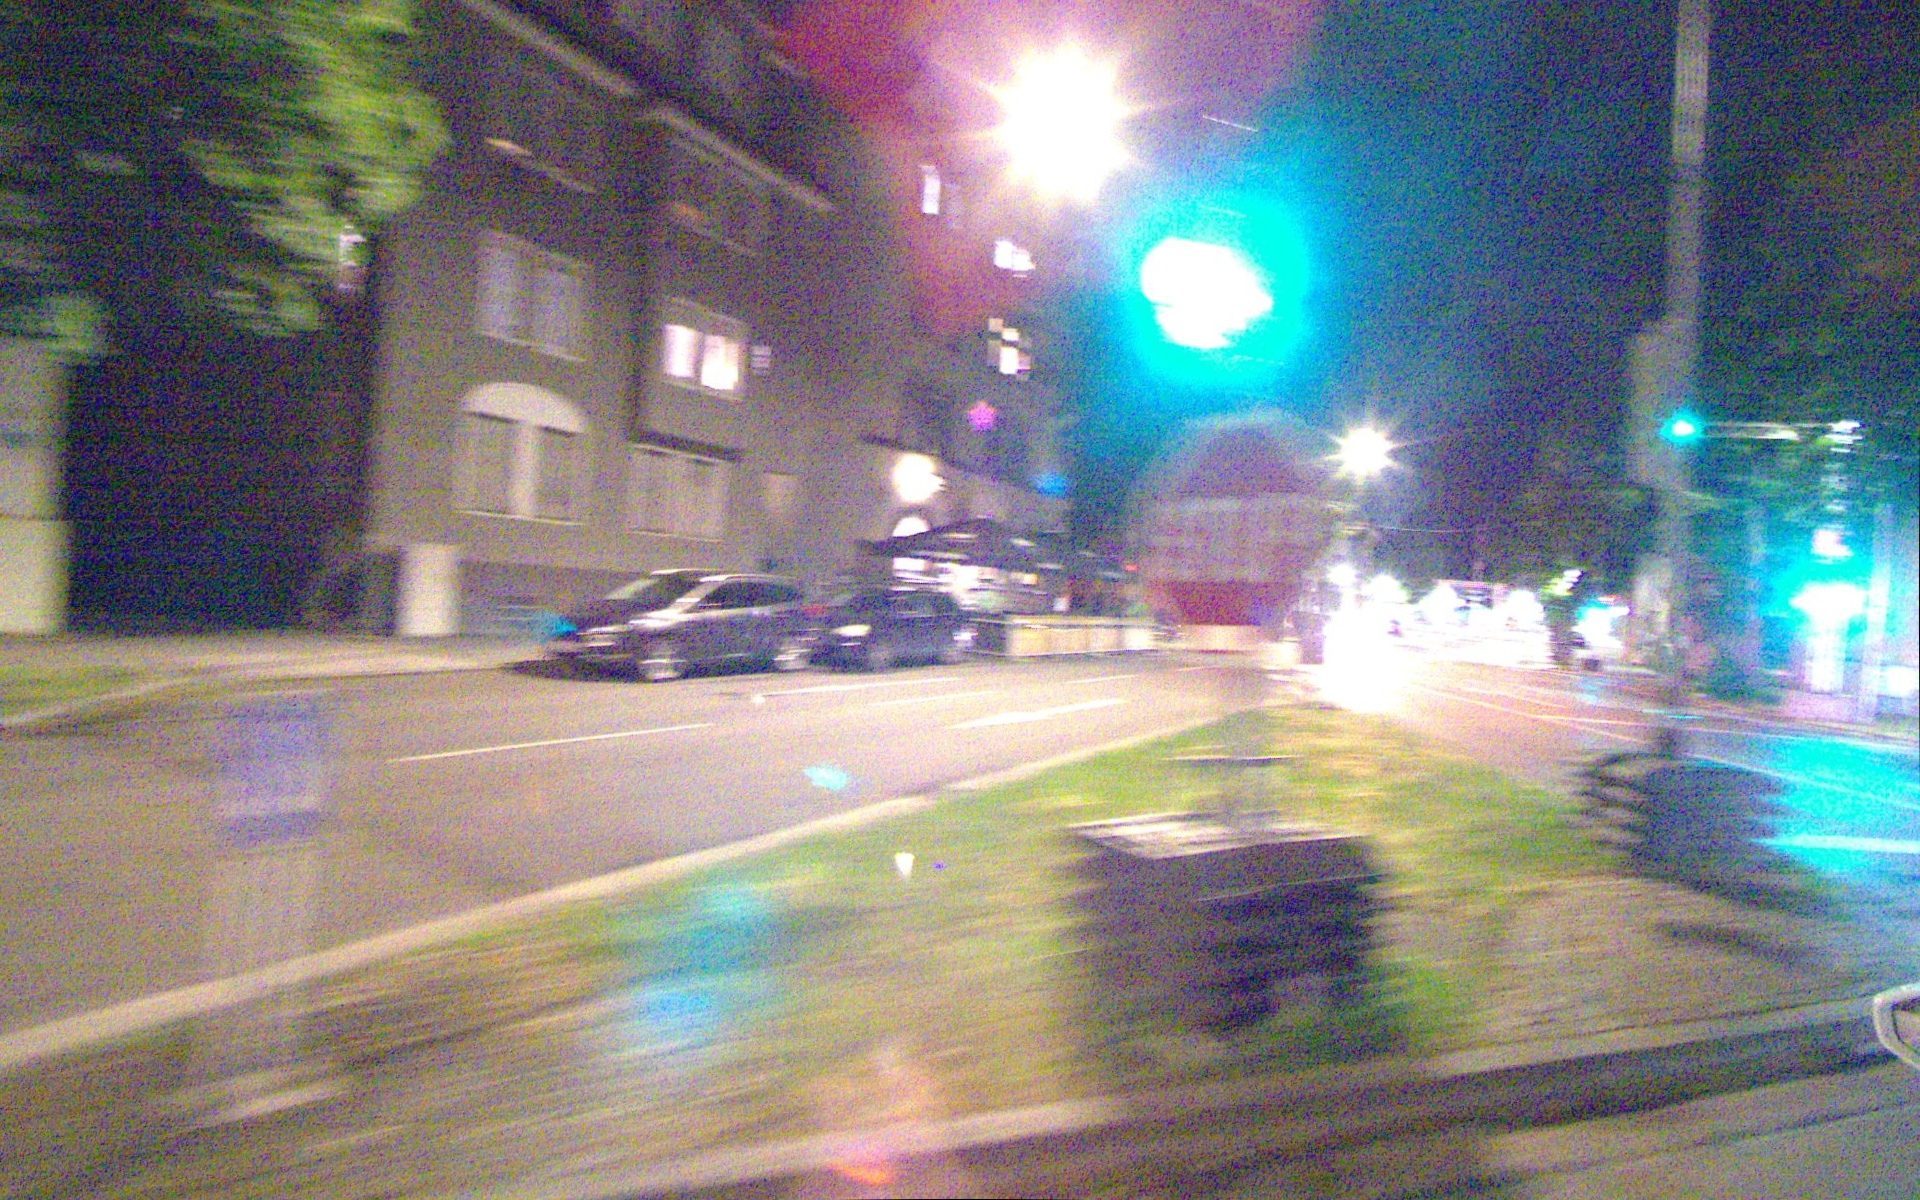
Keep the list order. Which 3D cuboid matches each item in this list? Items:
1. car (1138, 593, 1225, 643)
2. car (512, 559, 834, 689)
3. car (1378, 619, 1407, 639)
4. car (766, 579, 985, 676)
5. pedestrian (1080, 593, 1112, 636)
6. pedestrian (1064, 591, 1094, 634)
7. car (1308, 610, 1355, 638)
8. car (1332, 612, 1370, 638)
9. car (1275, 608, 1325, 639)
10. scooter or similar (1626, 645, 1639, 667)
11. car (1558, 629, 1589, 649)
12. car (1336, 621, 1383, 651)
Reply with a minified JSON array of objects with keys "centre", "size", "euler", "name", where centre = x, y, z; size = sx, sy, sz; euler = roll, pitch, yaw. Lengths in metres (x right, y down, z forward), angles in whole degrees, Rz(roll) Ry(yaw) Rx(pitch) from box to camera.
[{"centre":[8.426,0.687,37.939],"size":[1.859,1.617,4.015],"euler":[7,2,32],"name":"car"},{"centre":[-4.004,0.336,14.824],"size":[1.834,1.498,4.464],"euler":[6,1,30],"name":"car"},{"centre":[37.138,2.478,86.153],"size":[1.758,1.434,4.120],"euler":[6,2,29],"name":"car"},{"centre":[-1.459,0.505,19.079],"size":[1.834,1.452,4.435],"euler":[6,2,30],"name":"car"},{"centre":[5.604,0.601,41.404],"size":[0.701,1.713,1.119],"euler":[4,1,41],"name":"pedestrian"},{"centre":[4.962,0.535,41.972],"size":[0.701,1.713,0.993],"euler":[4,1,41],"name":"pedestrian"},{"centre":[23.351,1.522,62.990],"size":[1.760,1.511,4.319],"euler":[8,3,32],"name":"car"},{"centre":[26.576,1.695,68.234],"size":[1.758,1.511,3.994],"euler":[8,3,29],"name":"car"},{"centre":[18.989,1.320,55.991],"size":[1.571,1.511,3.688],"euler":[8,3,35],"name":"car"},{"centre":[35.805,2.977,53.465],"size":[0.416,1.145,1.487],"euler":[4,1,38],"name":"scooter or similar"},{"centre":[52.928,3.374,86.703],"size":[1.707,1.479,4.722],"euler":[5,1,26],"name":"car"},{"centre":[21.606,1.931,54.279],"size":[1.690,1.448,3.992],"euler":[3,0,31],"name":"car"}]
